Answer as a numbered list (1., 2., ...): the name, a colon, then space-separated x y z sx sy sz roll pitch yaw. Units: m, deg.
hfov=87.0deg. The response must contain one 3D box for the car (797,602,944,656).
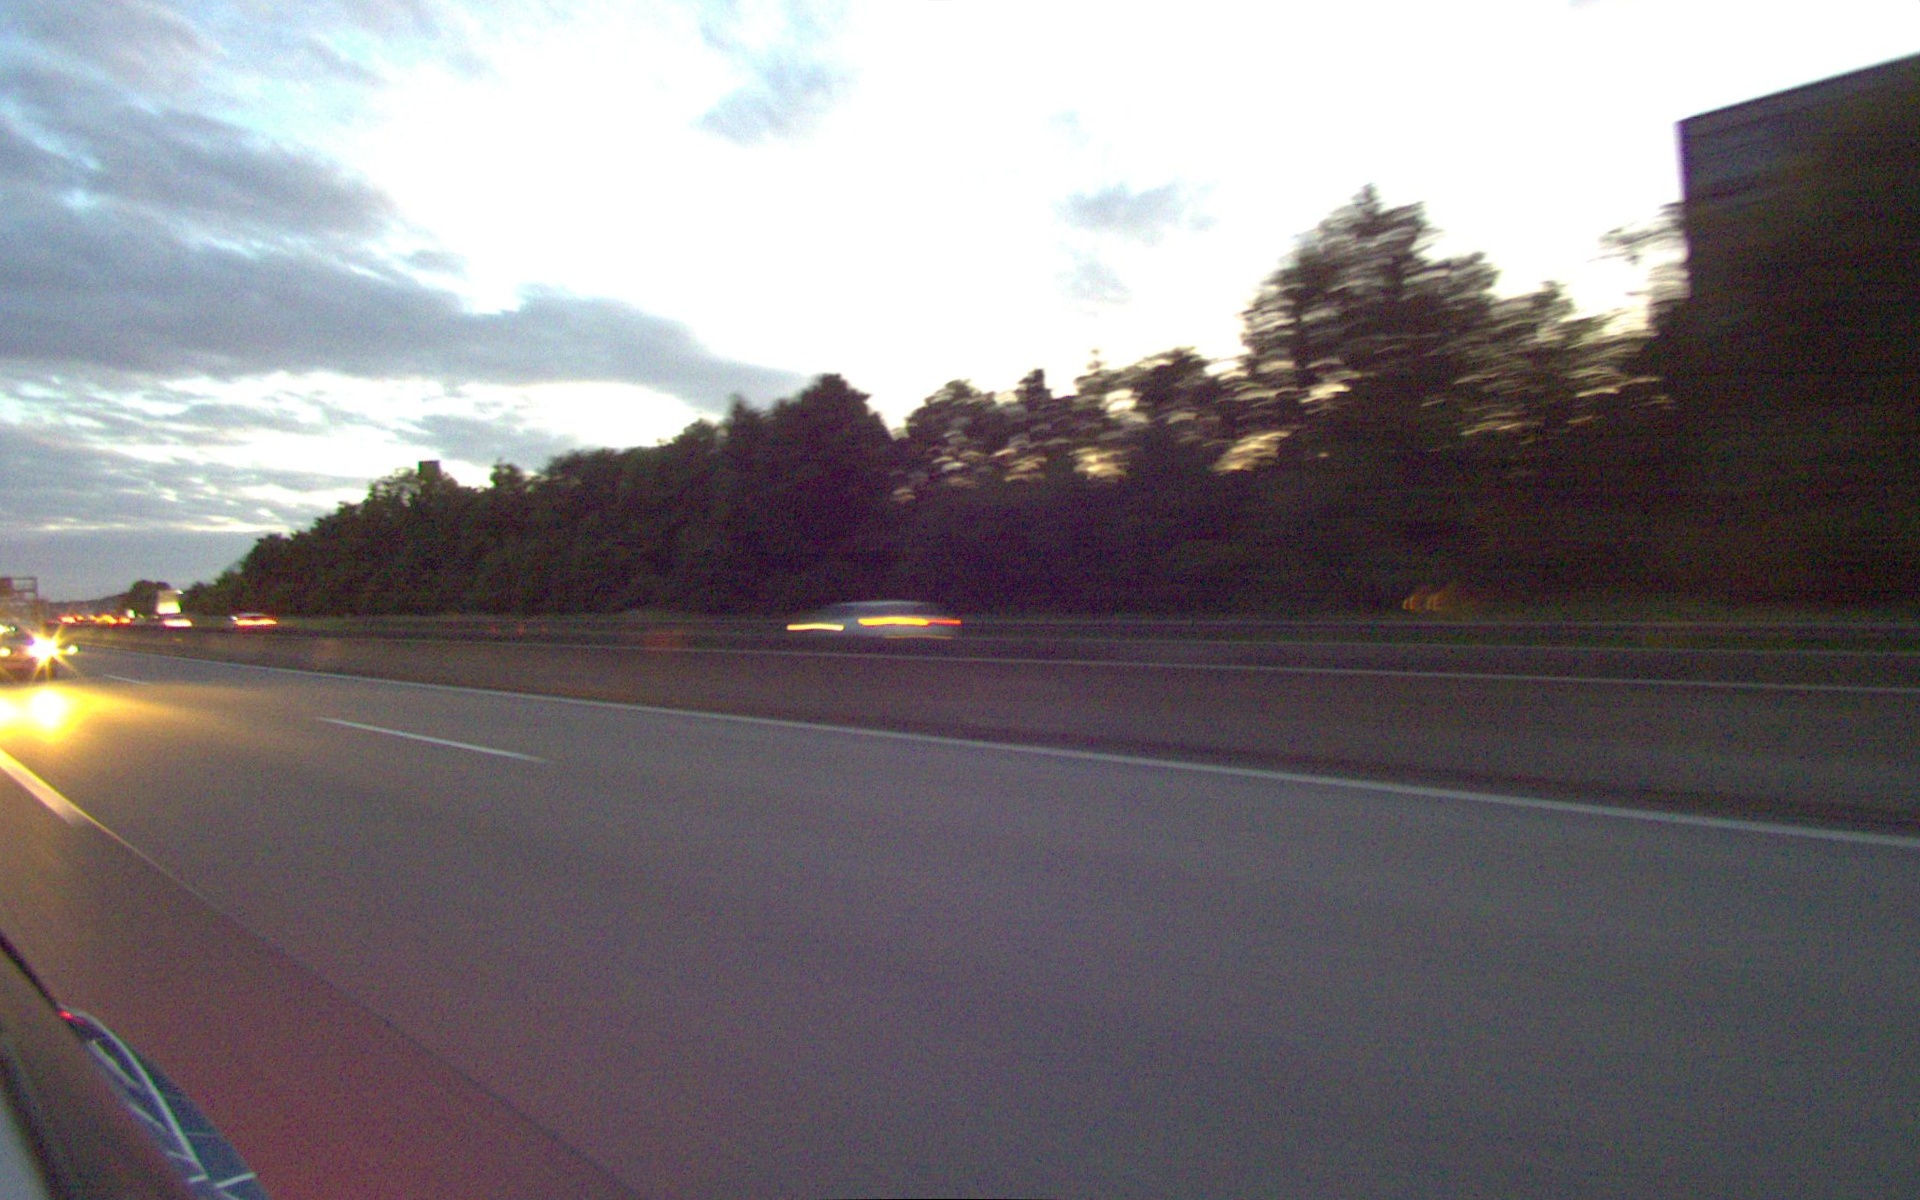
1. car: -2.831 0.867 31.255 4.504 1.516 1.973 -1 0 42

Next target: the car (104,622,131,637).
1. car: -105.101 3.629 126.191 4.841 1.804 1.972 -1 0 43

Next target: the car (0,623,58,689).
1. car: -23.771 1.346 25.028 3.998 1.491 1.695 -1 0 41

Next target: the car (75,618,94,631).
1. car: -167.718 4.643 193.777 2.299 2.450 7.098 -1 0 -45

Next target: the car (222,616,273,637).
1. car: -49.348 1.848 70.045 4.908 1.346 1.815 -1 0 42

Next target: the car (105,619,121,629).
1. car: -167.546 4.731 200.080 1.971 1.706 4.973 -1 0 -45

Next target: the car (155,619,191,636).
1. car: -71.535 2.506 91.921 3.834 1.464 1.972 -1 0 43
